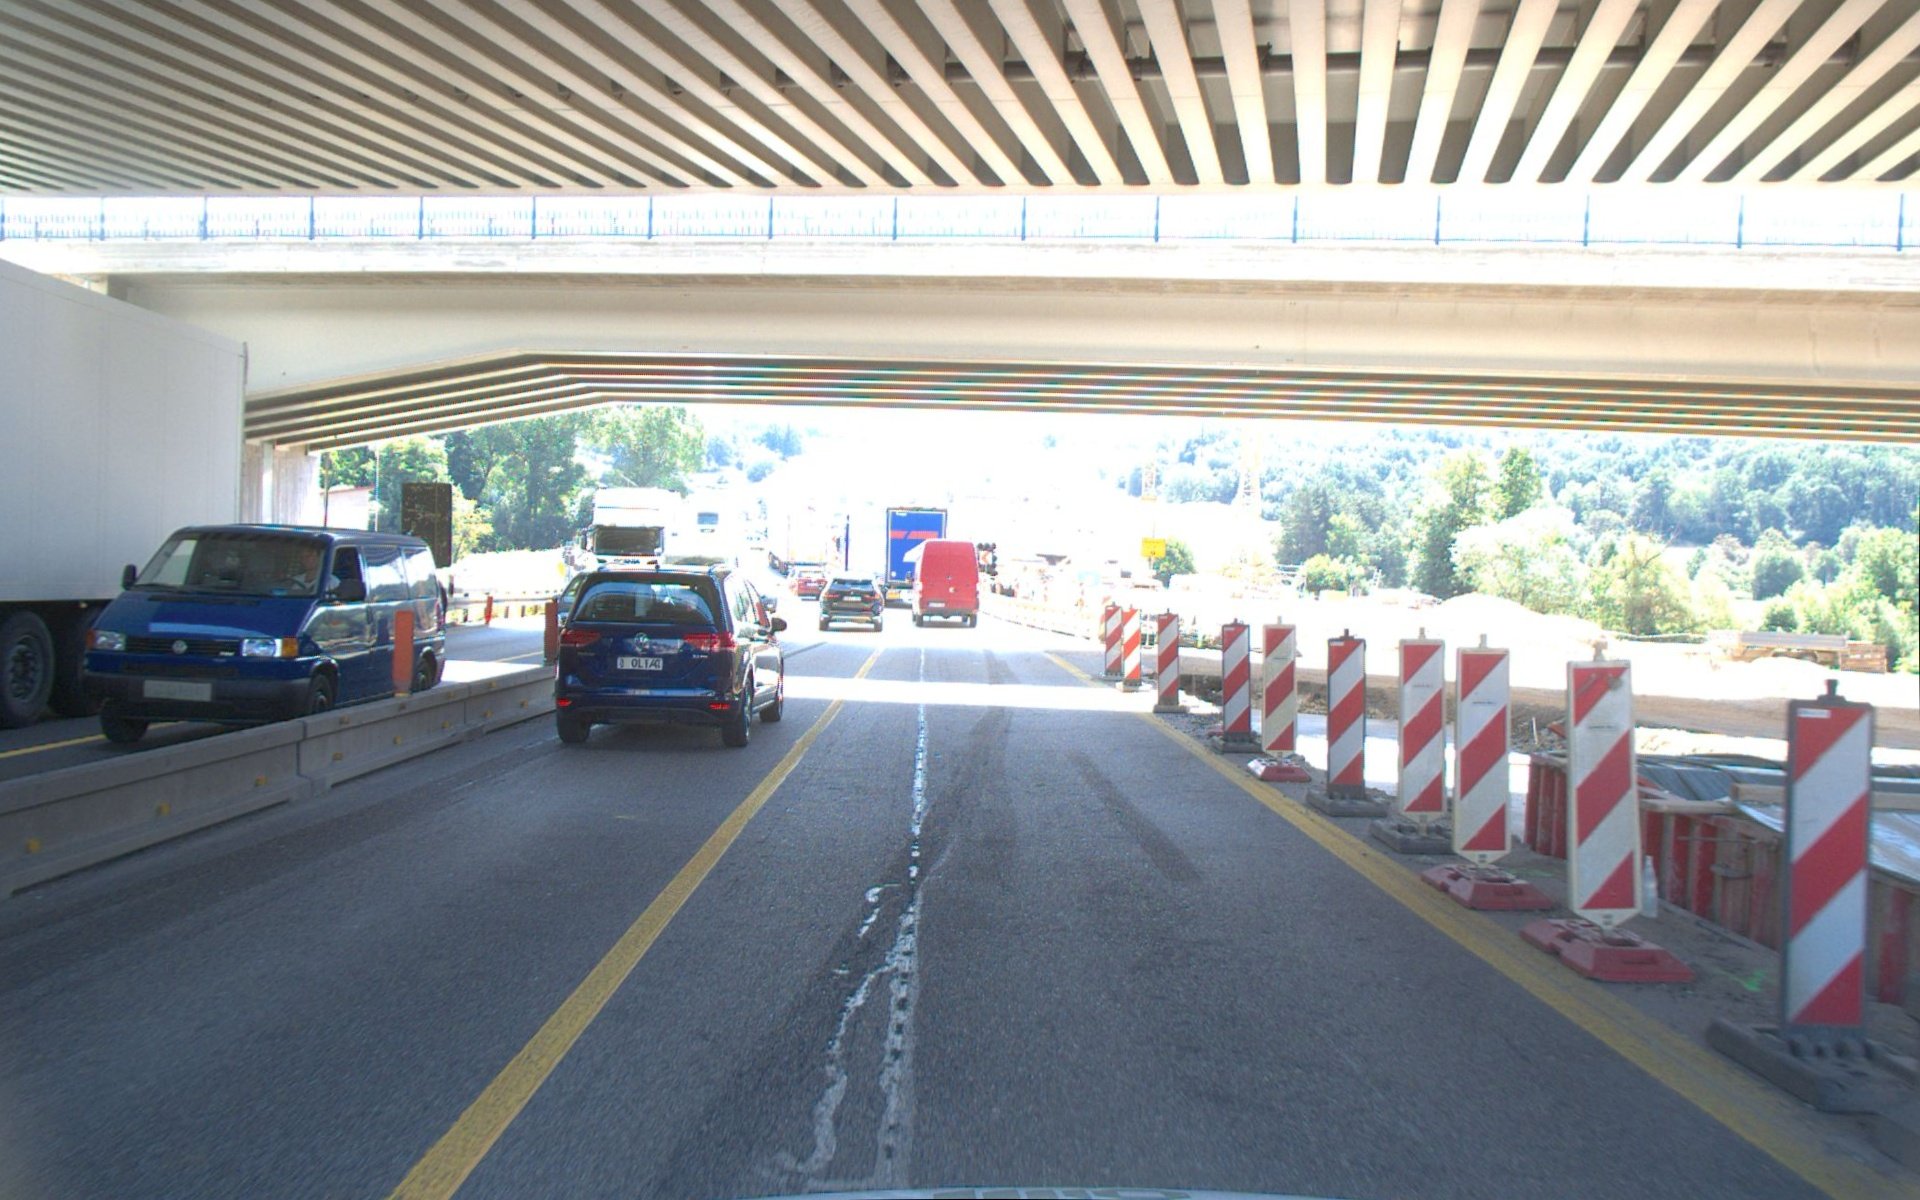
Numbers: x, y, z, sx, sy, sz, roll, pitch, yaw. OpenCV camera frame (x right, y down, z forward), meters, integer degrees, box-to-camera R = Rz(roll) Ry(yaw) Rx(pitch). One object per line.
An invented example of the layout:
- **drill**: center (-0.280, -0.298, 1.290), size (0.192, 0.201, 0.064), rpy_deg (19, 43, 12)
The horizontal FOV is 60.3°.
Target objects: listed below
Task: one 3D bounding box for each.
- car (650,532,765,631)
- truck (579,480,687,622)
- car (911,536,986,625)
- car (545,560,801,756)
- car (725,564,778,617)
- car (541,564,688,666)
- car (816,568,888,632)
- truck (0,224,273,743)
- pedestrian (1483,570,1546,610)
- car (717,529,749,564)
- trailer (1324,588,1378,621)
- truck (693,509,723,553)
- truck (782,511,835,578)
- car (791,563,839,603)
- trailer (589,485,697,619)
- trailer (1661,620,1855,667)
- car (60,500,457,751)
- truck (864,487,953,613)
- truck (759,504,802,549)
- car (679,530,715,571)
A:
- **car**: center (-6.521, -0.467, 43.464), size (1.940, 2.371, 6.059), rpy_deg (1, 0, 1)
- **truck**: center (-10.257, -1.526, 52.358), size (2.819, 4.121, 4.878), rpy_deg (3, 1, -7)
- **car**: center (-0.433, -0.573, 52.882), size (2.107, 2.657, 5.435), rpy_deg (1, -1, -3)
- **car**: center (-2.709, 0.480, 16.585), size (1.698, 1.664, 4.390), rpy_deg (1, 1, 1)
- **car**: center (-7.173, -0.366, 57.048), size (1.713, 1.699, 4.073), rpy_deg (1, 1, -7)
- **car**: center (-6.060, 0.234, 29.461), size (1.713, 1.638, 4.141), rpy_deg (1, 0, 0)
- **car**: center (-3.025, -0.041, 47.217), size (1.796, 1.663, 4.389), rpy_deg (1, 2, -1)
- **truck**: center (-9.485, -1.019, 12.846), size (2.712, 4.389, 13.487), rpy_deg (1, -1, -1)
- **pedestrian**: center (29.815, -0.528, 89.015), size (1.953, 2.049, 3.998), rpy_deg (1, -1, -2)
- **car**: center (-16.527, -3.953, 120.747), size (2.222, 2.395, 5.153), rpy_deg (1, 3, -7)
- **trailer**: center (19.858, 0.215, 84.137), size (1.591, 1.512, 3.823), rpy_deg (2, 1, -4)
- **truck**: center (-25.775, -7.030, 169.381), size (2.574, 4.343, 4.729), rpy_deg (2, 2, -5)
- **truck**: center (-9.804, -3.619, 106.439), size (3.121, 4.058, 6.734), rpy_deg (1, 3, -7)
- **car**: center (-6.650, -0.792, 75.606), size (1.800, 1.663, 4.097), rpy_deg (1, 2, -10)
- **trailer**: center (-11.239, -1.688, 59.910), size (2.823, 4.110, 14.335), rpy_deg (3, 1, -8)
- **trailer**: center (23.002, 1.250, 47.801), size (4.617, 1.241, 2.055), rpy_deg (1, -1, -1)
- **car**: center (-6.333, 0.187, 15.643), size (1.764, 1.966, 4.966), rpy_deg (1, 0, -2)
- **truck**: center (-2.285, -2.207, 70.329), size (2.890, 5.030, 6.730), rpy_deg (1, 3, -9)
- **truck**: center (-15.924, -6.464, 146.501), size (3.160, 3.419, 8.919), rpy_deg (1, -1, -10)
- **car**: center (-17.779, -3.297, 111.525), size (2.034, 2.547, 6.465), rpy_deg (1, 1, -12)
